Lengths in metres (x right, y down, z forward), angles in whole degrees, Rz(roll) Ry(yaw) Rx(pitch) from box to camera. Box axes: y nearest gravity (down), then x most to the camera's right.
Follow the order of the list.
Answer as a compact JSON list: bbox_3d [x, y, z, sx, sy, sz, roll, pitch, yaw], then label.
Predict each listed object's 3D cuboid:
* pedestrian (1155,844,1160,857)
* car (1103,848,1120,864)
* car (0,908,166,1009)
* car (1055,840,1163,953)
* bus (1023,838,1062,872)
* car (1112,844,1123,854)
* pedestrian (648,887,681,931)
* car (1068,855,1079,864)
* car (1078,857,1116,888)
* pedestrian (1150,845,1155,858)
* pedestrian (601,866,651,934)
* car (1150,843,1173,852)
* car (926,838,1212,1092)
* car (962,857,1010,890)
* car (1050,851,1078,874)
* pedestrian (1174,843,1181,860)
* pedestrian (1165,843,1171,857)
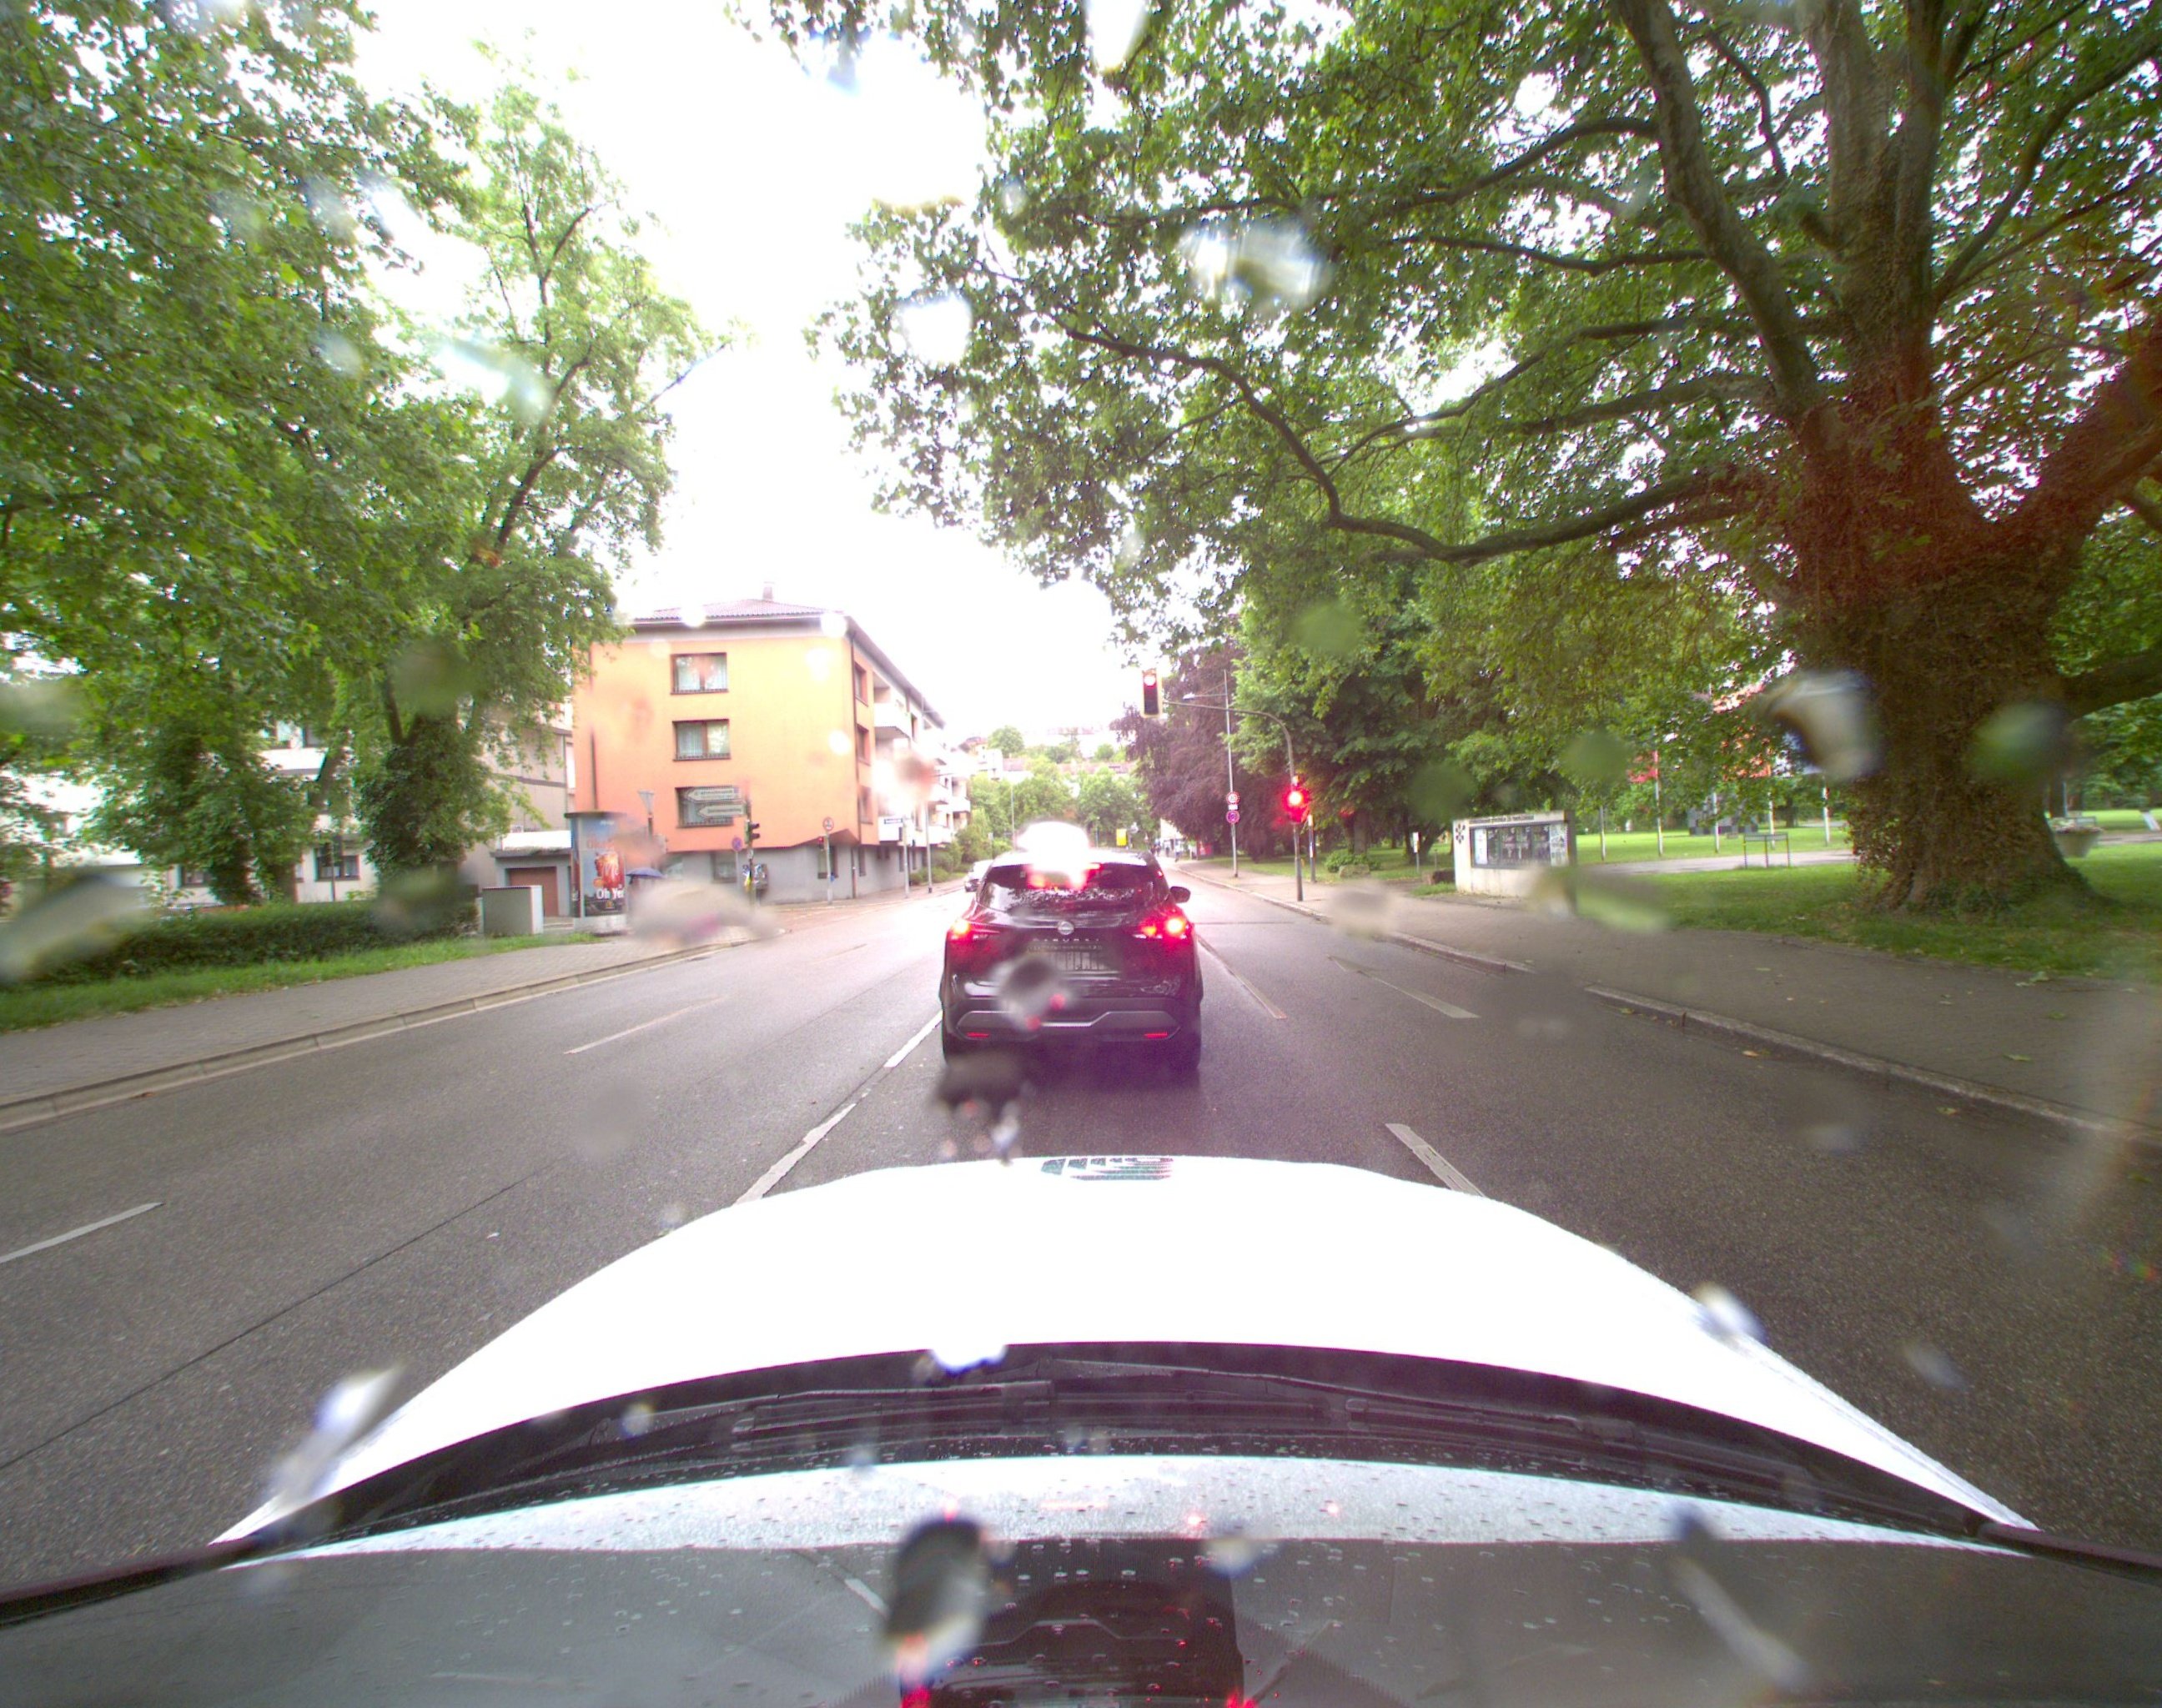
[{"bbox_3d":[9.838,-0.440,104.830,0.513,1.655,0.550,0,-1,1],"label":"pedestrian"},{"bbox_3d":[3.103,0.191,82.375,1.618,1.415,3.456,-3,0,2],"label":"car"},{"bbox_3d":[-18.001,1.735,13.816,3.182,1.524,1.507,0,-1,-1],"label":"car"},{"bbox_3d":[0.552,0.669,14.774,1.615,1.709,3.774,-3,0,3],"label":"car"},{"bbox_3d":[-3.666,0.113,80.271,2.756,2.974,11.786,-3,0,2],"label":"bus"},{"bbox_3d":[6.150,-0.832,136.680,1.743,1.633,3.636,-3,0,2],"label":"car"},{"bbox_3d":[-11.713,1.535,22.893,0.689,1.175,0.817,0,0,-37],"label":"pedestrian"},{"bbox_3d":[-1.314,0.893,137.695,1.671,1.469,4.217,-4,0,1],"label":"car"},{"bbox_3d":[0.792,0.910,41.204,1.802,1.417,4.031,-2,0,1],"label":"car"},{"bbox_3d":[9.309,-0.368,106.121,0.542,1.651,0.490,0,-1,2],"label":"pedestrian"},{"bbox_3d":[-12.224,1.201,21.869,0.999,1.742,1.196,0,0,-37],"label":"pedestrian"},{"bbox_3d":[16.174,-1.332,163.735,3.986,1.684,1.994,-3,0,-9],"label":"car"},{"bbox_3d":[-0.015,0.716,7.140,1.799,1.590,4.001,0,-1,2],"label":"car"},{"bbox_3d":[-4.752,0.959,41.224,1.802,1.417,4.031,-4,0,1],"label":"car"},{"bbox_3d":[-1.105,0.583,55.052,1.618,1.415,3.456,-3,0,2],"label":"car"},{"bbox_3d":[10.285,-0.295,86.878,0.616,1.779,0.779,-3,0,1],"label":"pedestrian"},{"bbox_3d":[11.296,-0.499,105.685,0.616,1.779,0.551,-3,0,1],"label":"pedestrian"}]
